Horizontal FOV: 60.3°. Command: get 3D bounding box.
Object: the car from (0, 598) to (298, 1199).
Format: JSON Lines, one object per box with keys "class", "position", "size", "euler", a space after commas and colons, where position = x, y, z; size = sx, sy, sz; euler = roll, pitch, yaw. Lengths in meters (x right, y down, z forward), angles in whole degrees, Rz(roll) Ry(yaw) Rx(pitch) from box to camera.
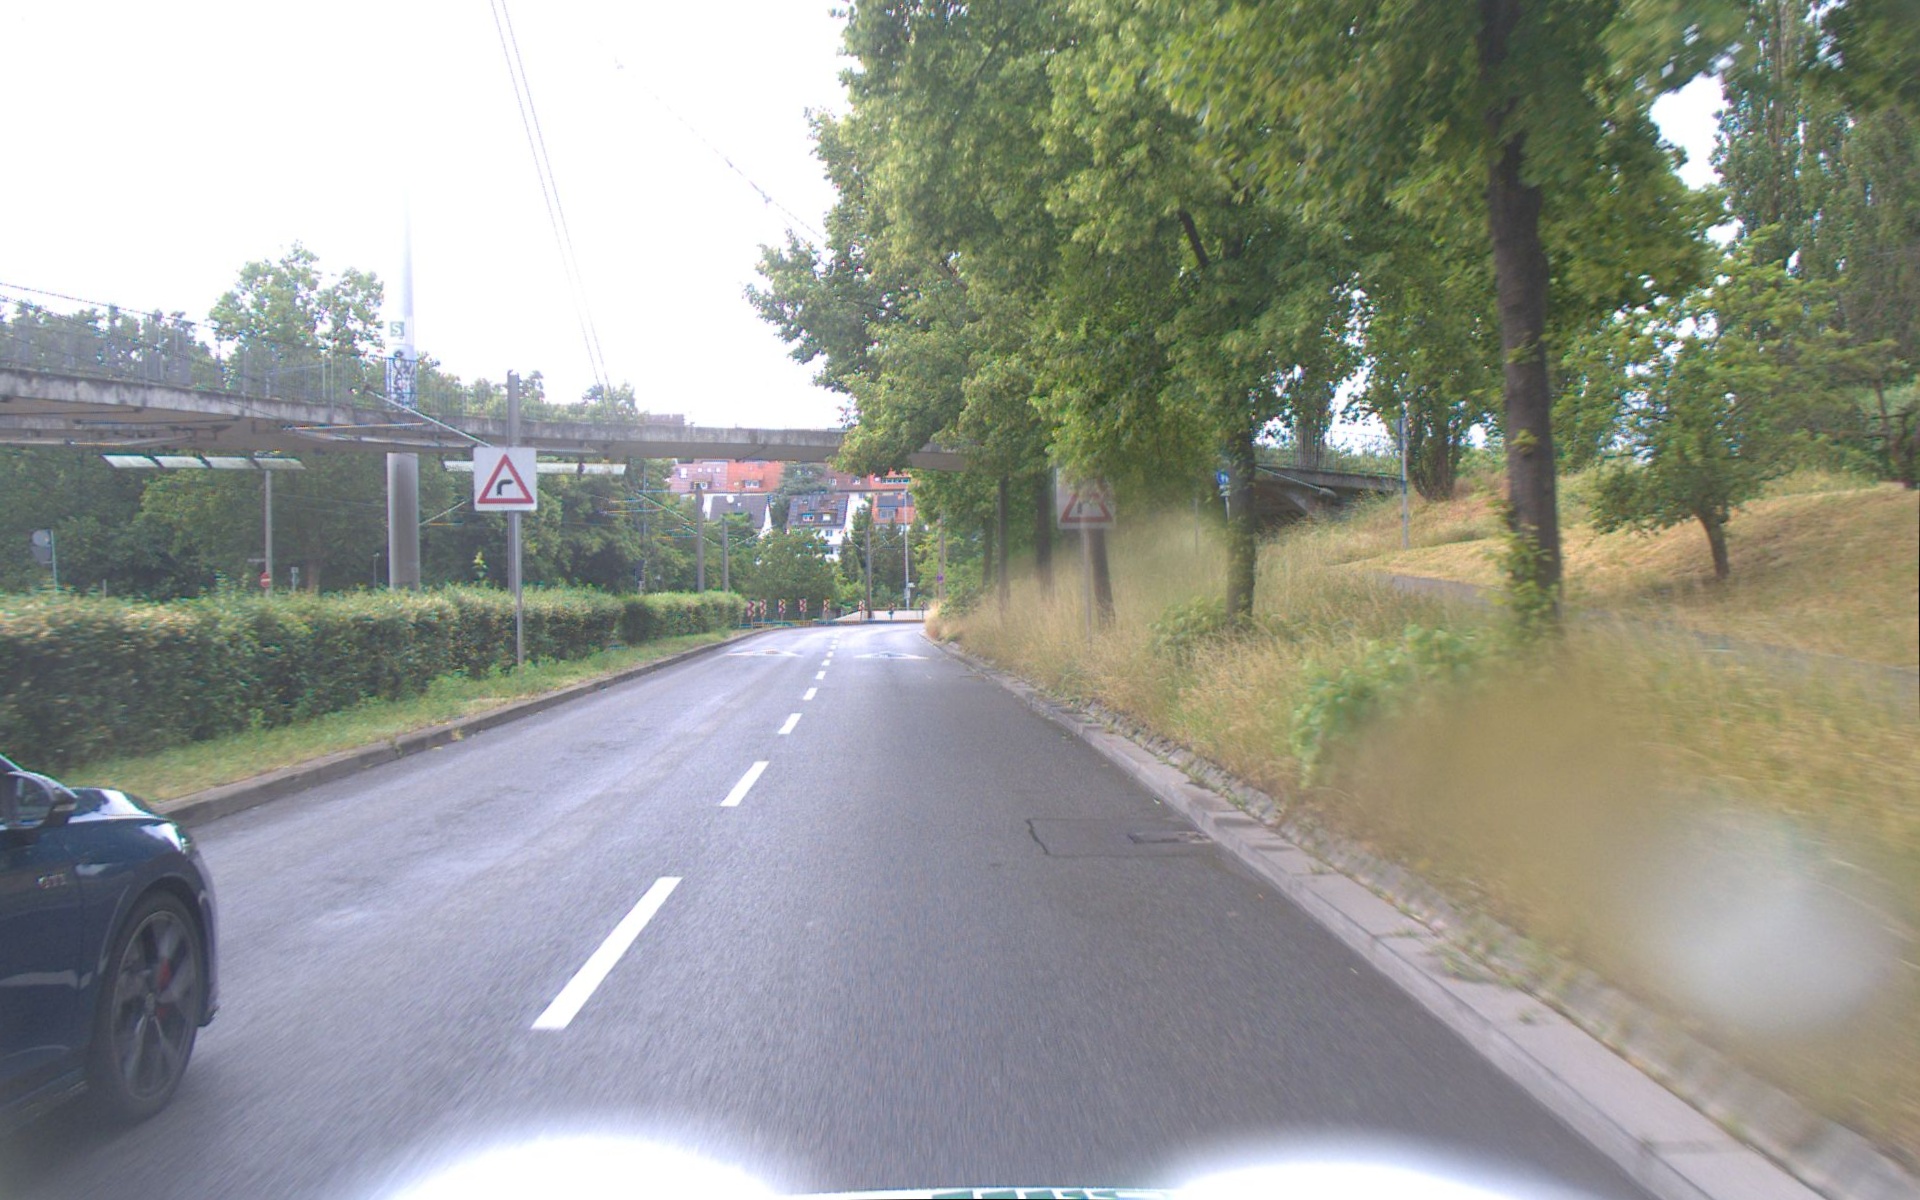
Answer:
{"class": "car", "position": [-3.080, 0.689, 3.332], "size": [1.771, 1.402, 4.346], "euler": [0, 0, -1]}
